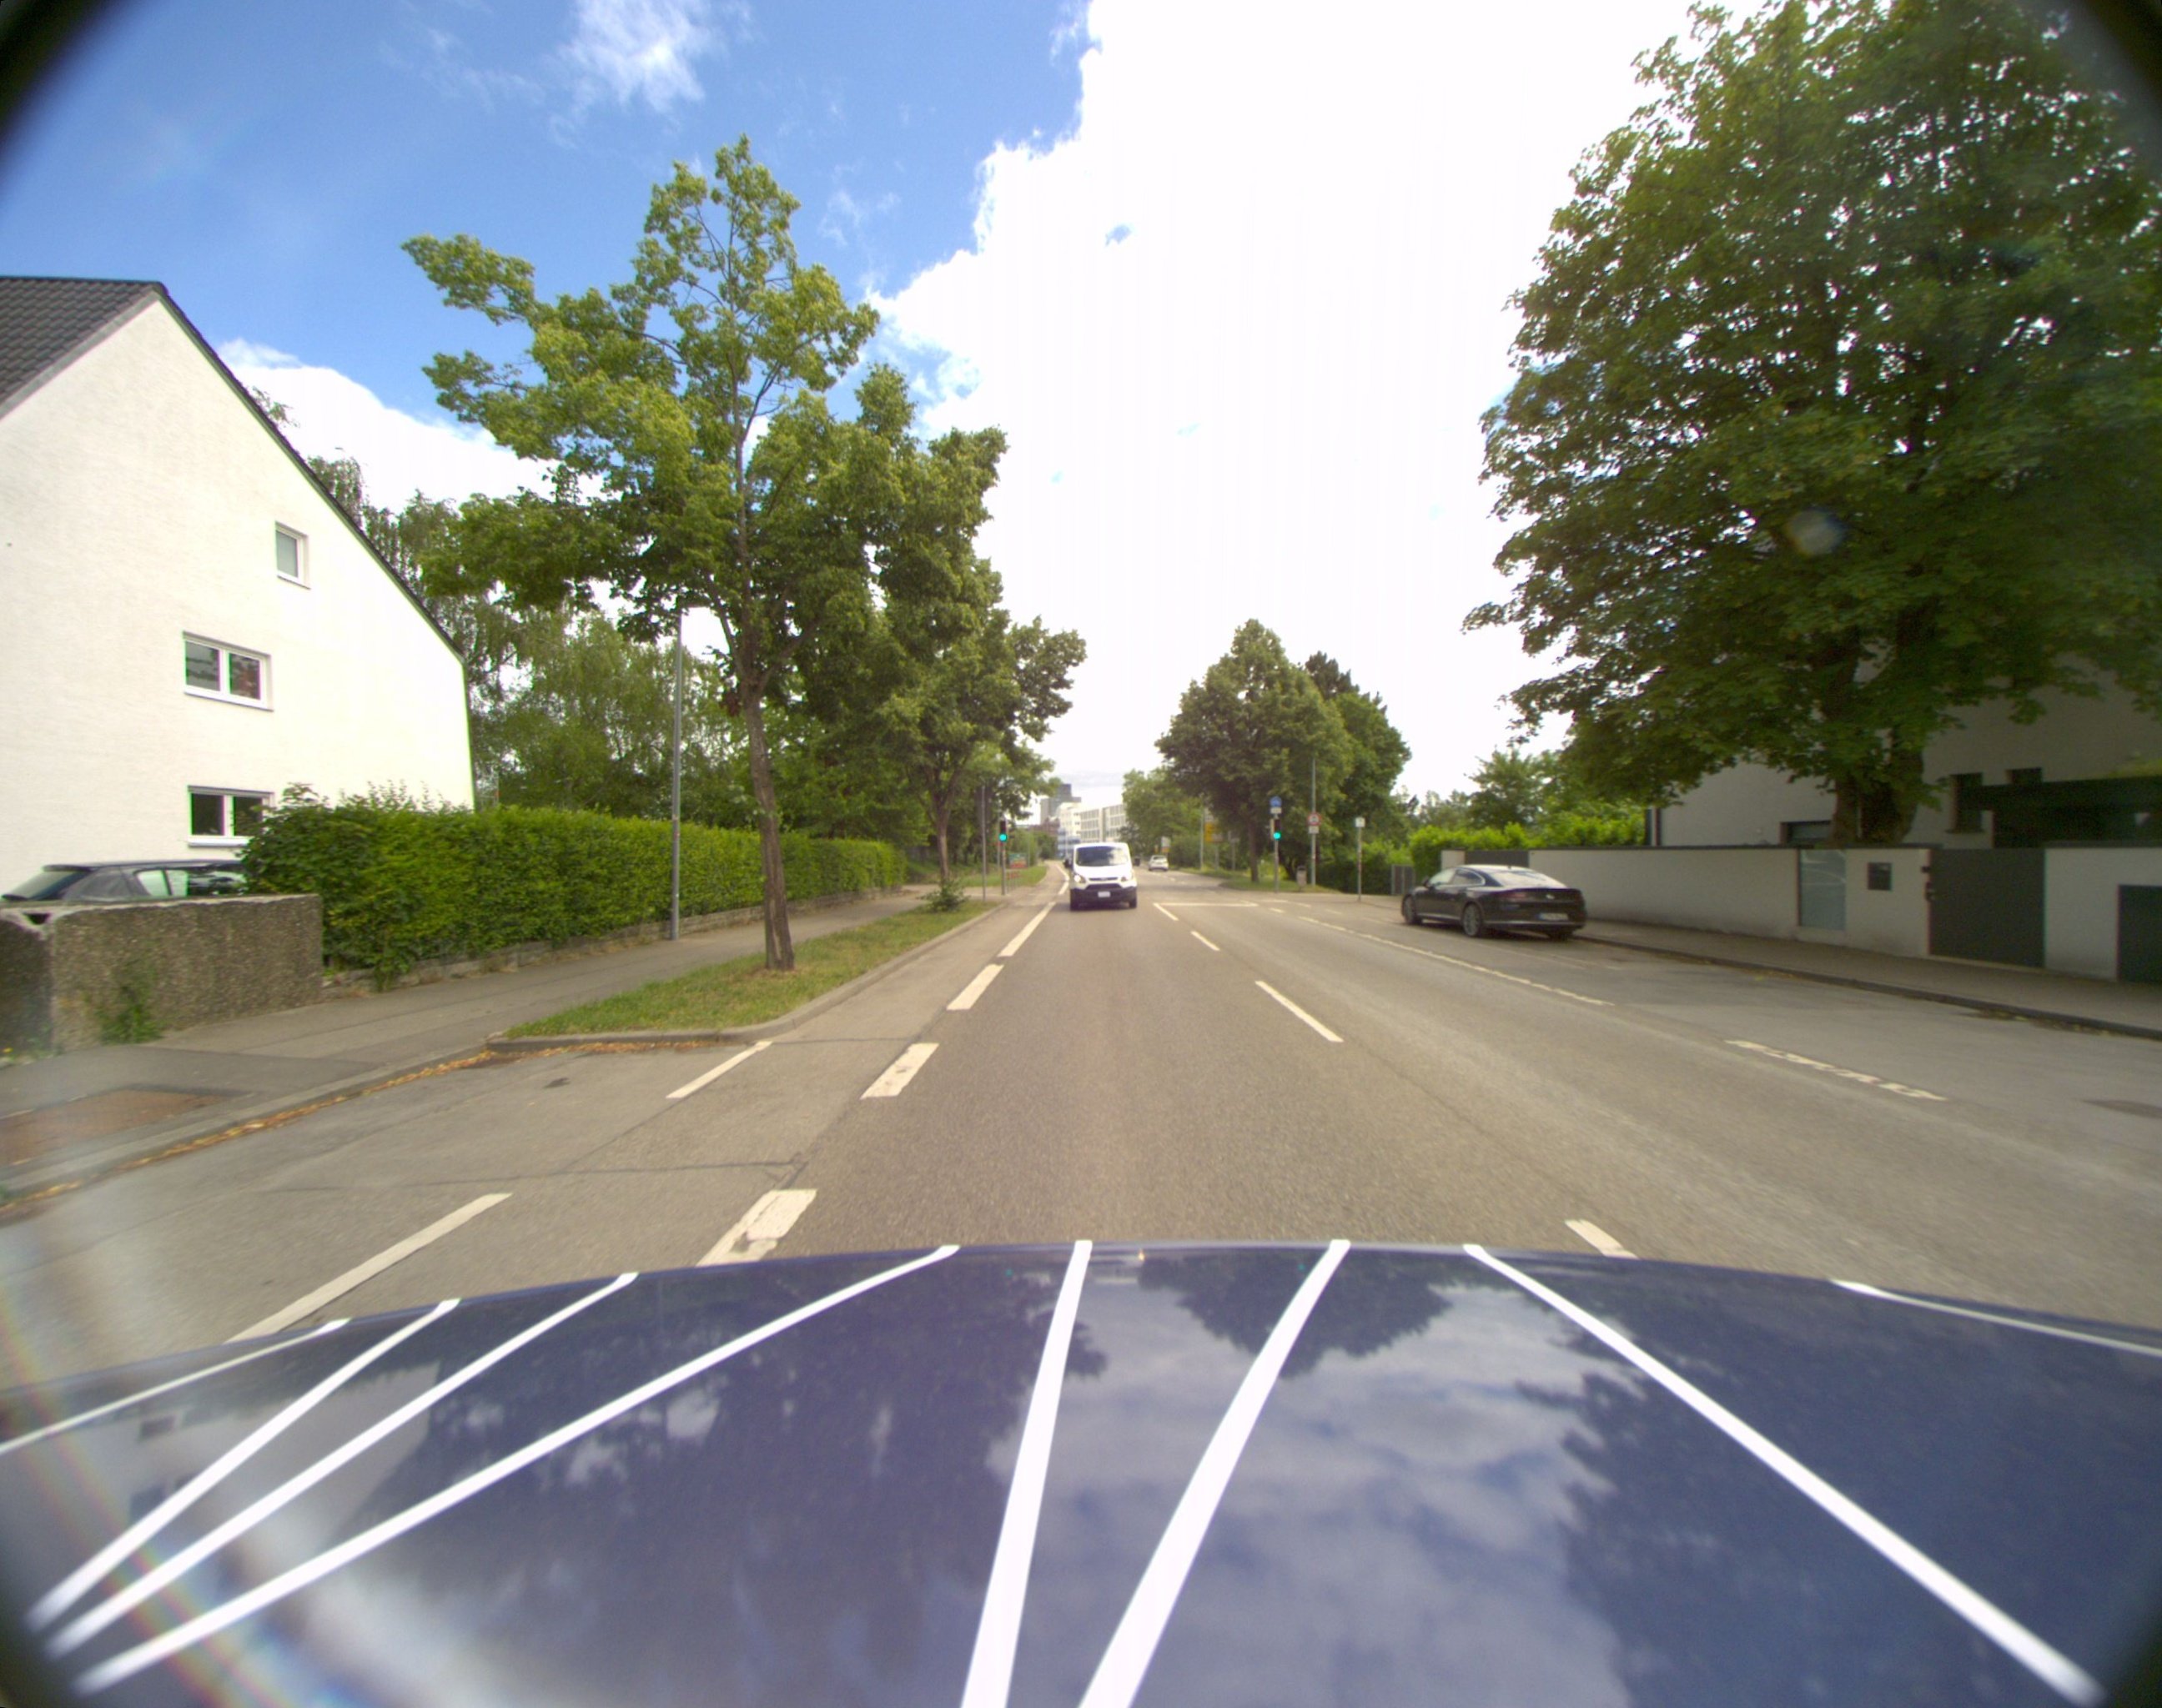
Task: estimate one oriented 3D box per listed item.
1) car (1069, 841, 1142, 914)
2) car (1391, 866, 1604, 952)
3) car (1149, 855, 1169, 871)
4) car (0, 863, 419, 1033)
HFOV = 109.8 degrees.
[{"bbox_3d":[0.738,0.652,24.000,1.998,2.002,5.188,-2,1,1],"label":"car"},{"bbox_3d":[8.376,1.023,15.907,1.750,1.400,4.927,1,0,0],"label":"car"},{"bbox_3d":[8.116,0.946,78.922,1.786,1.622,4.000,0,0,2],"label":"car"},{"bbox_3d":[-10.211,0.911,8.956,1.647,1.559,3.225,0,0,25],"label":"car"}]
